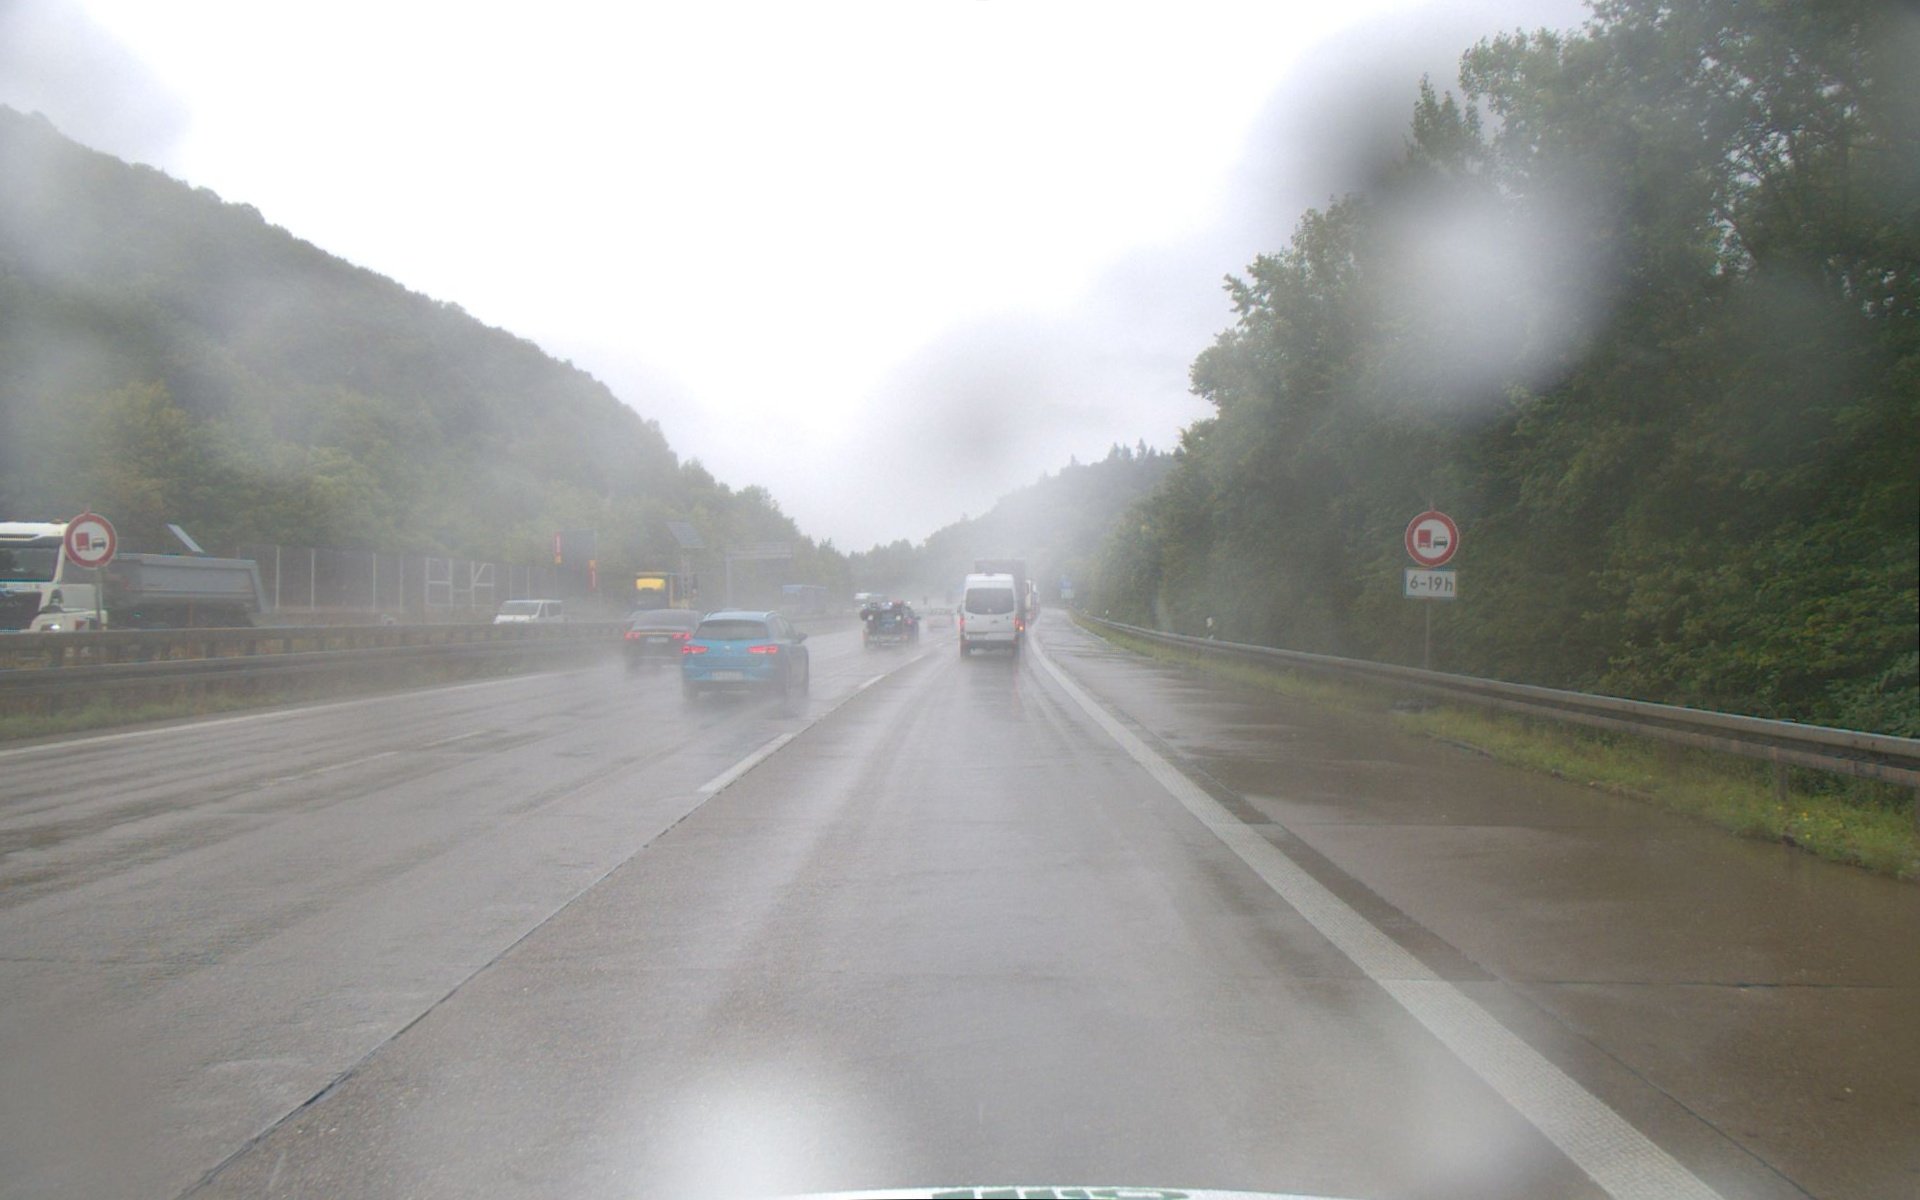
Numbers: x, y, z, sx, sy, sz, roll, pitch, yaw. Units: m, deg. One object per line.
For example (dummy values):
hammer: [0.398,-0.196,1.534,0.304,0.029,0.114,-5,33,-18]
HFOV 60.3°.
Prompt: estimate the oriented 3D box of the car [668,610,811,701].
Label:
car: [-3.579,0.865,27.561,1.818,1.362,4.350,1,0,-1]

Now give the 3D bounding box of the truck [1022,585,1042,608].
truck: [9.954,-0.507,228.513,2.532,3.033,9.027,1,0,1]

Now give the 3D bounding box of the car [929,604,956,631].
car: [-1.116,1.130,107.380,1.581,1.656,4.189,1,0,1]

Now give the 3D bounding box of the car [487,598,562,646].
car: [-19.553,0.963,74.495,1.936,2.049,5.198,1,0,0]

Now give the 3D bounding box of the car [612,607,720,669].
car: [-6.951,0.870,39.506,1.818,1.362,4.350,1,0,-1]

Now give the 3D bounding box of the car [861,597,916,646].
car: [-2.763,0.830,64.821,1.830,1.841,4.189,1,0,1]

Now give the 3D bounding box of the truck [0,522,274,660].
truck: [-23.103,-0.226,46.174,2.716,3.373,11.518,1,0,2]

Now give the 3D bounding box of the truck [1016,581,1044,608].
truck: [8.145,-0.579,192.090,2.530,3.033,9.032,1,0,6]

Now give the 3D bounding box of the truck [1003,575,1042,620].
truck: [5.795,-0.231,152.367,3.025,3.978,9.059,1,0,5]

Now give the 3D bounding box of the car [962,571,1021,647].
car: [1.057,0.295,54.879,1.860,2.375,5.251,1,0,1]

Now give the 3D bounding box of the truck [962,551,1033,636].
truck: [2.038,-0.446,86.651,3.315,4.037,8.670,-3,2,2]

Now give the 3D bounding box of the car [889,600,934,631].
car: [-2.481,0.765,85.437,1.951,1.557,4.002,0,0,4]
